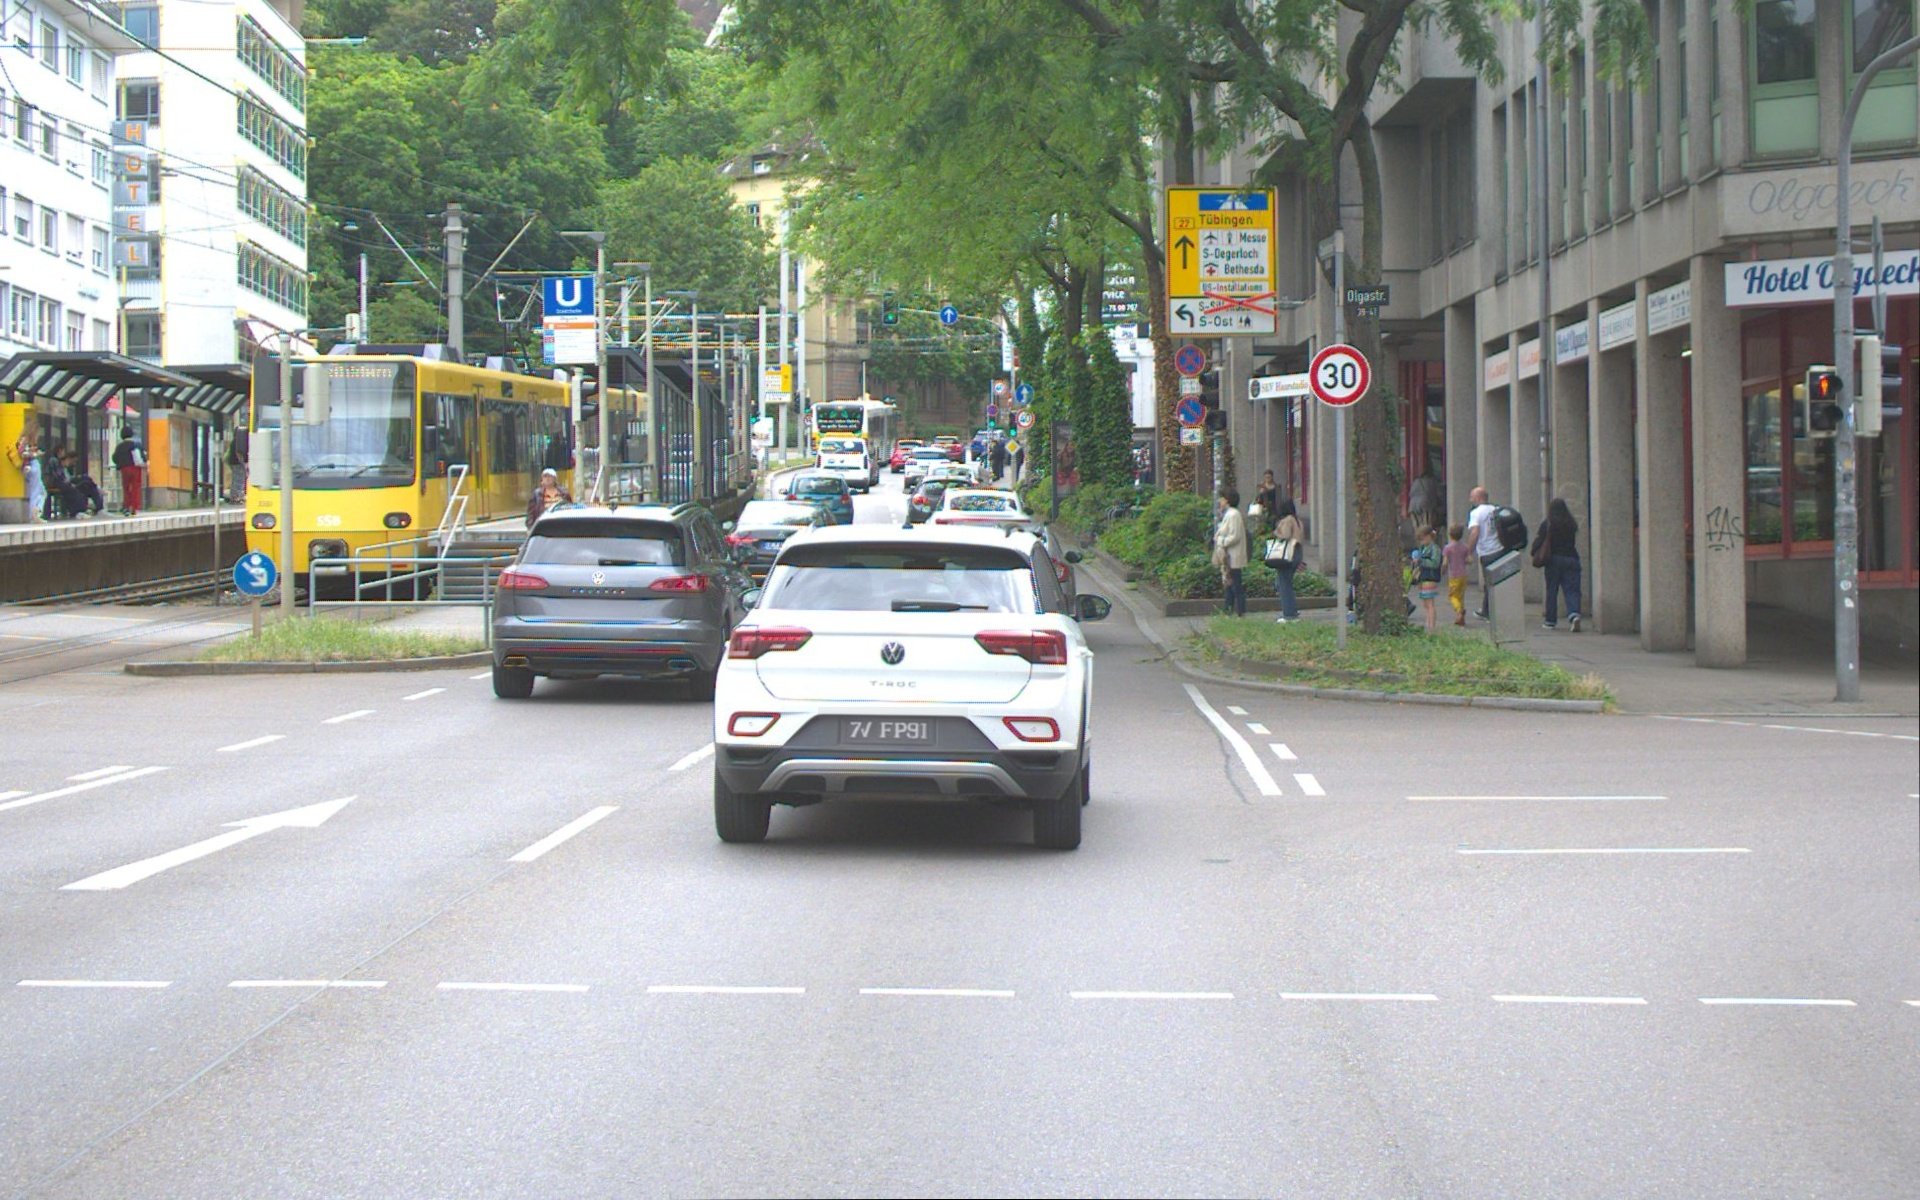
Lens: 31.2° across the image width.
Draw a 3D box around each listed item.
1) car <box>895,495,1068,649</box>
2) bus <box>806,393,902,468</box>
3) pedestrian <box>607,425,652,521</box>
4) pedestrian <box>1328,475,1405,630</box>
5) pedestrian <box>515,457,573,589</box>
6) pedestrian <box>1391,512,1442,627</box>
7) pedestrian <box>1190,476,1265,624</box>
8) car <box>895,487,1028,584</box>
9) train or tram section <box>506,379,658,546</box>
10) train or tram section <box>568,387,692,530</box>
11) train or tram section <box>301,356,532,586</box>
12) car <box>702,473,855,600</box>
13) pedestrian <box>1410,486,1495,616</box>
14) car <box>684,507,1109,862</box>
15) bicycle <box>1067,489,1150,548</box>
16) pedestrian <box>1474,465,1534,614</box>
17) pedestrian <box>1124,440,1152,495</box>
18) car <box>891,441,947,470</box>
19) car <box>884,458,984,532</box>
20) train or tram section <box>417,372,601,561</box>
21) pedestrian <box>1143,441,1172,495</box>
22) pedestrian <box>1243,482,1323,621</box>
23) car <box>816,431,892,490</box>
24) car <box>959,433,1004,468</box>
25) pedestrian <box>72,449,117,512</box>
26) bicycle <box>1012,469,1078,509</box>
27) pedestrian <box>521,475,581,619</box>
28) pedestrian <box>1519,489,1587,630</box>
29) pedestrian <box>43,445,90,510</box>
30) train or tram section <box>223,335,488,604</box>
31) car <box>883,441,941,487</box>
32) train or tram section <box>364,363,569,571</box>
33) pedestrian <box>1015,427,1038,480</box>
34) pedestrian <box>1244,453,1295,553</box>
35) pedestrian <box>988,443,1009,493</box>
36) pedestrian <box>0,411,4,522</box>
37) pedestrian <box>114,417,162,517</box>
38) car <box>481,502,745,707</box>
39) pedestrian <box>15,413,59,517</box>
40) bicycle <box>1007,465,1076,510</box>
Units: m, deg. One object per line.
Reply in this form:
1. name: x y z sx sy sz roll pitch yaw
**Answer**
1. car: 0.198 -0.361 40.245 1.885 1.678 4.162 1 1 -1
2. bus: -4.847 -7.815 159.664 3.372 3.054 13.324 1 1 3
3. pedestrian: -5.974 -2.295 62.209 0.717 1.725 0.671 1 1 1
4. pedestrian: 4.885 -0.579 41.363 0.721 1.796 0.835 -2 4 -5
5. pedestrian: -5.465 -1.018 45.161 0.685 1.705 0.712 0 2 -1
6. pedestrian: 5.351 -0.358 40.308 0.471 1.329 0.520 1 1 -5
7. pedestrian: 3.301 -0.625 42.463 0.693 1.771 0.690 -4 2 -5
8. car: -0.009 -1.184 62.827 1.884 1.678 4.162 1 1 -7
9. train or tram section: -8.657 -3.167 79.348 2.813 3.653 5.903 1 2 0
10. train or tram section: -8.814 -3.797 92.384 2.813 3.653 6.752 1 2 -2
11. train or tram section: -8.792 -2.119 56.228 2.835 3.508 5.752 1 2 0
12. car: -2.635 -0.972 50.645 1.912 1.683 4.001 2 3 1
13. pedestrian: 5.988 -0.601 41.823 0.835 1.557 0.764 1 1 -5
14. car: -0.208 0.328 17.822 1.838 1.578 4.157 1 2 4
15. bicycle: 2.958 -1.621 68.347 1.620 1.124 0.613 -2 2 3
16. pedestrian: 6.624 -0.739 41.878 0.518 1.783 0.764 1 1 -5
17. pedestrian: 5.322 -3.956 102.704 0.635 1.609 0.588 1 1 -21
18. car: -1.845 -6.490 154.348 1.583 1.168 3.676 1 1 14
19. car: -0.778 -2.983 98.403 2.364 2.007 5.149 1 1 -6
20. train or tram section: -8.806 -2.630 67.758 2.835 3.508 5.752 1 2 0
21. pedestrian: 5.912 -3.953 102.950 0.635 1.602 0.588 1 1 -21
22. pedestrian: 4.054 -0.615 43.150 0.835 1.698 0.764 -2 2 -5
23. car: -3.844 -5.079 125.563 2.365 2.007 5.148 1 1 3
24. car: 1.106 -7.665 176.592 1.885 1.678 4.160 1 1 6
25. pedestrian: -15.389 -2.129 61.133 0.635 1.103 0.690 0 2 -1
26. bicycle: 2.529 -3.290 101.778 1.881 1.133 0.808 1 1 6
27. pedestrian: -4.926 -0.646 41.444 0.635 1.705 0.872 0 2 -1
28. pedestrian: 7.008 -0.482 40.631 0.762 1.606 0.618 -1 4 11
29. pedestrian: -15.512 -2.129 59.689 0.635 1.103 0.690 0 2 -1
30. train or tram section: -8.766 -1.914 50.464 2.835 3.666 5.752 1 2 0
31. car: -1.873 -5.209 132.362 1.884 1.678 4.162 1 1 -5
32. train or tram section: -8.811 -2.399 61.978 2.835 3.508 5.752 1 2 0
33. pedestrian: 2.542 -5.578 131.120 0.762 2.007 0.838 1 1 5
34. pedestrian: 5.692 -1.782 63.194 0.762 1.776 0.848 -2 4 -6
35. pedestrian: 1.581 -5.412 140.614 0.762 2.007 0.838 1 1 5
36. pedestrian: -15.081 -2.046 52.660 0.688 1.705 0.662 0 2 -1
37. pedestrian: -14.522 -2.350 60.761 0.627 1.756 0.847 0 2 0
38. car: -2.961 -0.021 30.100 1.993 1.630 4.001 1 2 -1
39. pedestrian: -15.206 -2.225 56.653 0.635 1.705 0.690 0 2 -9
40. bicycle: 2.377 -3.270 100.286 1.881 1.262 0.764 1 1 10
